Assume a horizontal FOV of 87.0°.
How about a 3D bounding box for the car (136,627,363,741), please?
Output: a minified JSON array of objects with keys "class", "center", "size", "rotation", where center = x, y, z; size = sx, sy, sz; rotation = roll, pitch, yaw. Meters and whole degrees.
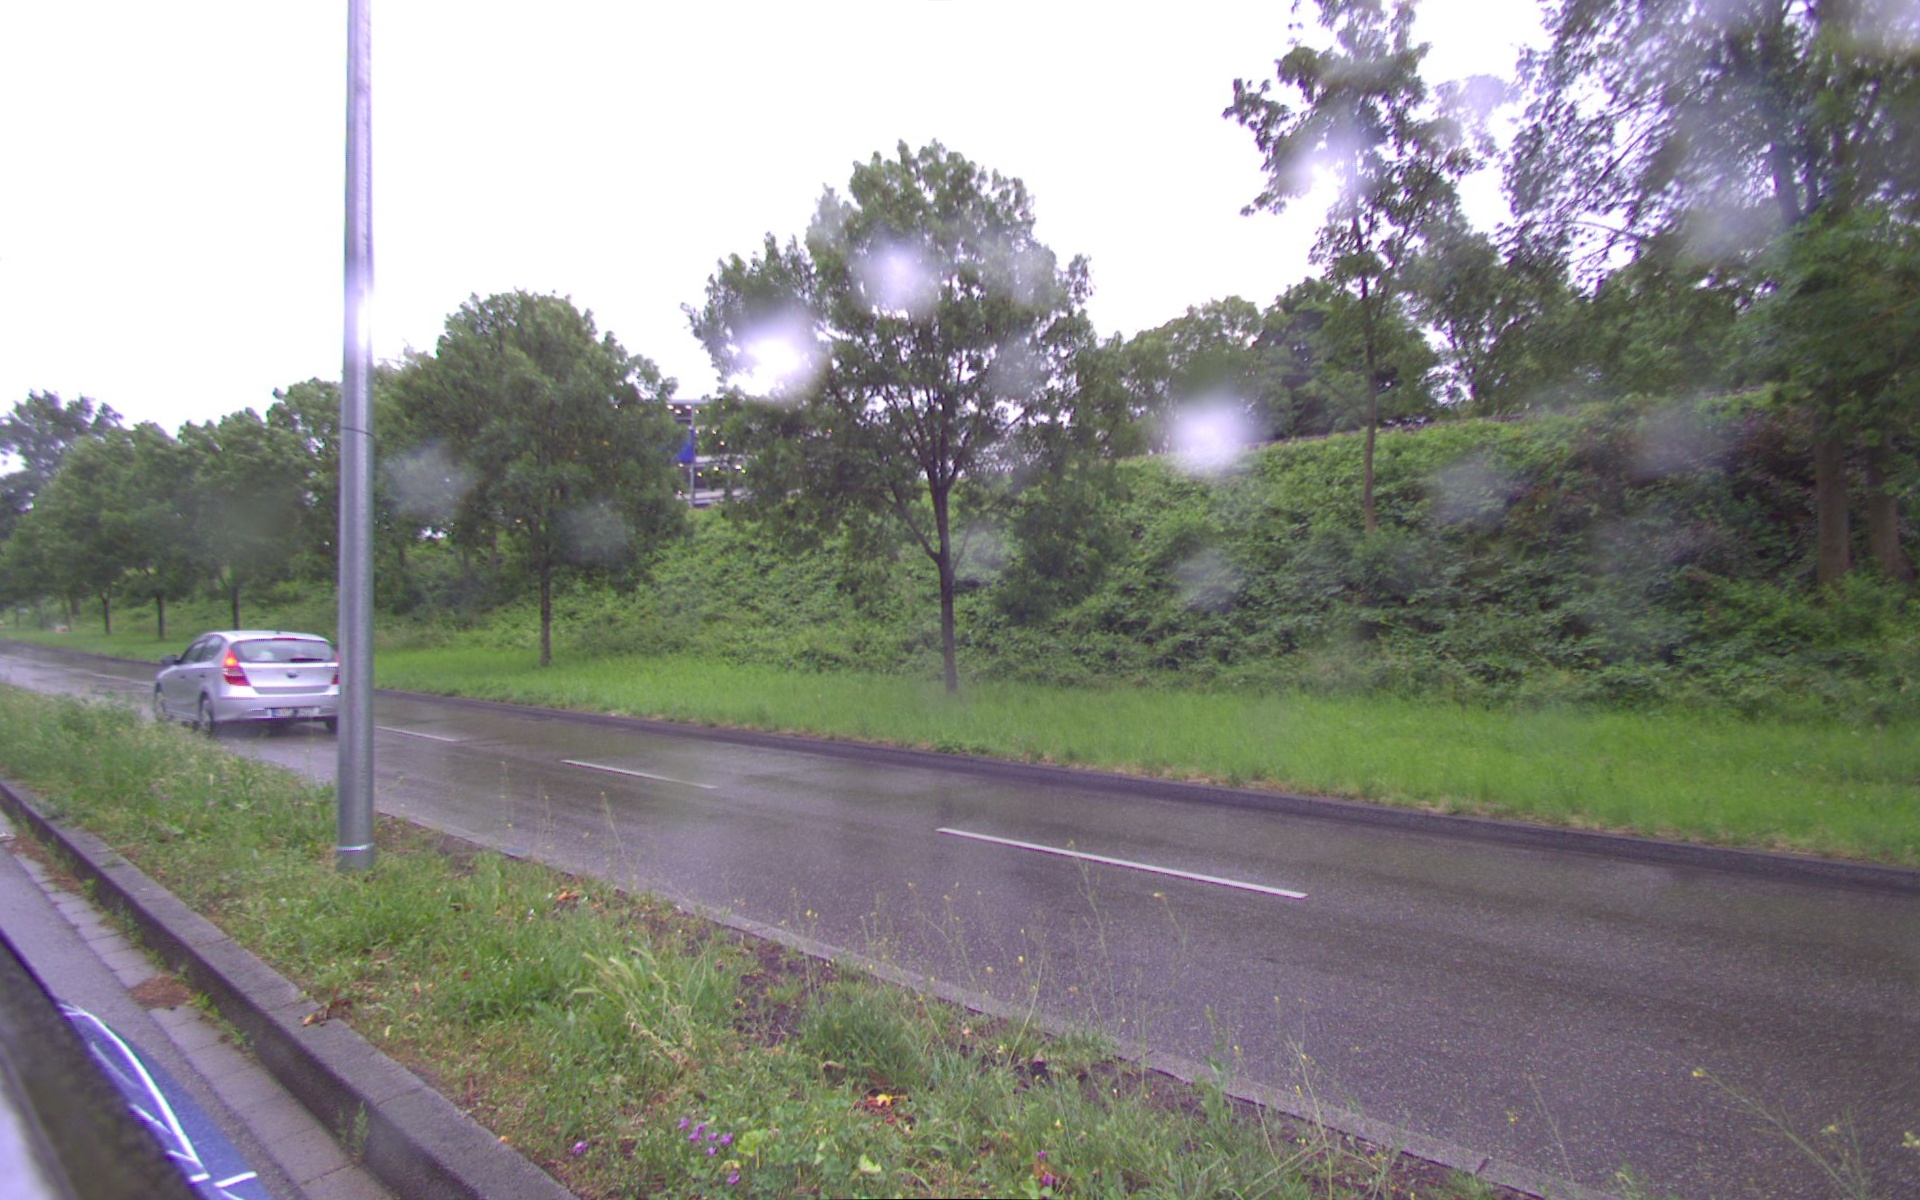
[{"class":"car","center":[-10.720,1.175,15.175],"size":[3.997,1.474,1.797],"rotation":[-1,-4,40]}]
